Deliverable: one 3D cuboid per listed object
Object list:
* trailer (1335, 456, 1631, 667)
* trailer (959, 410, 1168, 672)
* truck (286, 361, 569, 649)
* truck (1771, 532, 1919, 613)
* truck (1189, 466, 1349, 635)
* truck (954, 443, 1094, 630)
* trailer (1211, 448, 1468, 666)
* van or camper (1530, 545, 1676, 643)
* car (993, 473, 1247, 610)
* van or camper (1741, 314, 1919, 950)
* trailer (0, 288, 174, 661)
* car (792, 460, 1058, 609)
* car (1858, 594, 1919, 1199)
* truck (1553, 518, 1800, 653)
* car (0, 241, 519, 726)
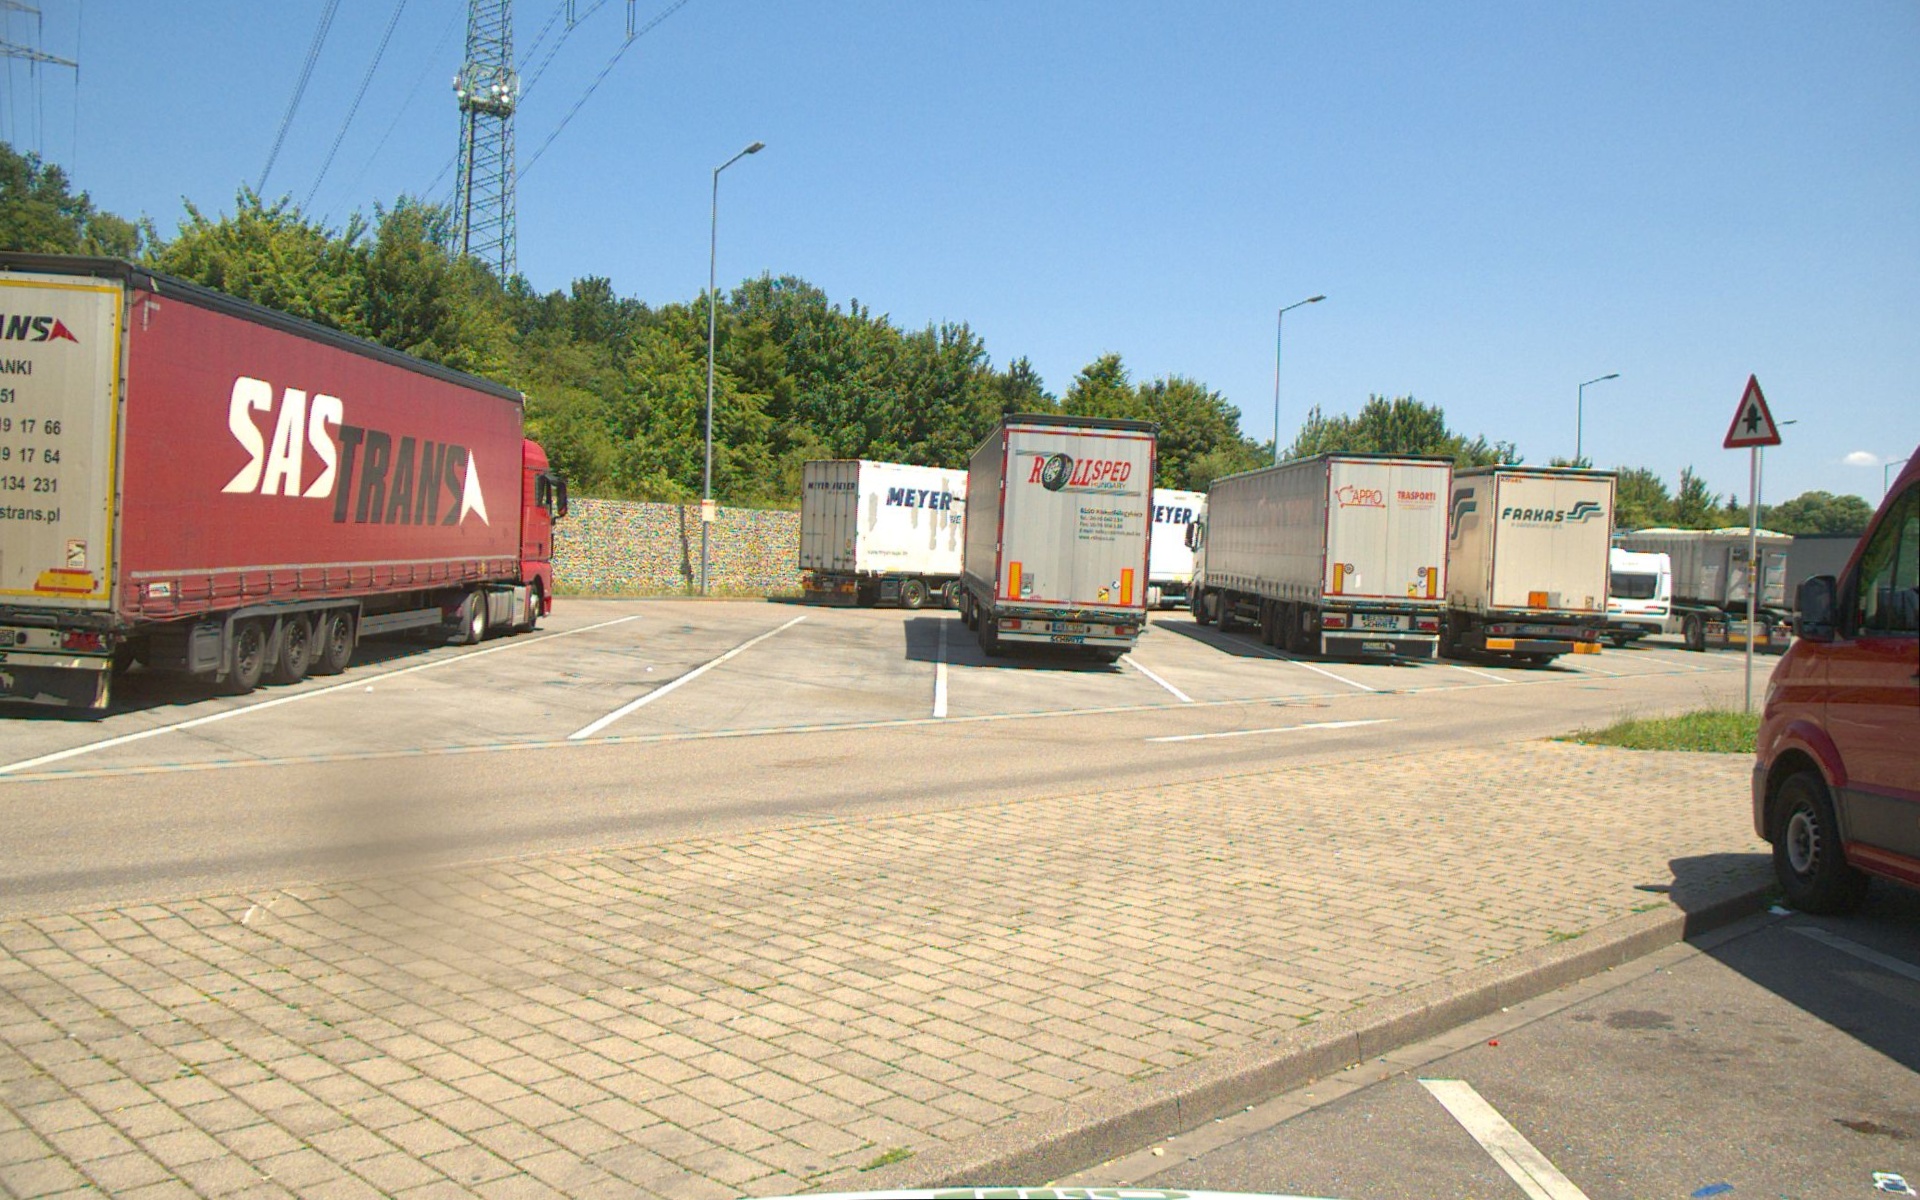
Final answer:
[{"bbox_3d":[11.825,-1.023,39.173,2.808,4.107,12.438,2,2,-1],"label":"trailer"},{"bbox_3d":[1.655,-1.239,33.624,2.809,4.107,14.238,2,2,-2],"label":"trailer"},{"bbox_3d":[-8.699,-1.529,27.836,2.641,4.184,6.239,2,2,0],"label":"truck"},{"bbox_3d":[34.712,-1.066,63.580,2.082,2.869,9.777,1,1,-1],"label":"truck"},{"bbox_3d":[8.171,-1.384,44.688,2.808,4.107,6.956,2,2,-1],"label":"truck"},{"bbox_3d":[1.427,-1.565,40.705,2.809,4.107,7.026,2,2,-2],"label":"truck"},{"bbox_3d":[8.248,-1.089,38.057,2.808,4.107,12.438,2,2,-1],"label":"trailer"},{"bbox_3d":[18.272,-0.221,47.296,2.061,2.606,5.372,1,1,0],"label":"van or camper"},{"bbox_3d":[5.658,-1.885,56.449,10.141,4.261,2.645,0,3,-45],"label":"car"},{"bbox_3d":[4.981,0.171,5.513,1.954,2.700,6.482,1,1,3],"label":"van or camper"},{"bbox_3d":[-12.551,-1.406,17.121,2.756,4.341,12.940,2,2,-1],"label":"trailer"},{"bbox_3d":[-0.883,-1.872,49.841,2.645,4.114,8.406,5,3,45],"label":"car"},{"bbox_3d":[2.531,0.792,1.066,1.584,1.509,3.762,1,1,-6],"label":"car"},{"bbox_3d":[21.754,-0.648,51.191,2.437,3.630,11.423,2,2,-1],"label":"truck"},{"bbox_3d":[-8.680,-1.280,20.918,2.641,4.184,12.935,2,2,0],"label":"car"}]
